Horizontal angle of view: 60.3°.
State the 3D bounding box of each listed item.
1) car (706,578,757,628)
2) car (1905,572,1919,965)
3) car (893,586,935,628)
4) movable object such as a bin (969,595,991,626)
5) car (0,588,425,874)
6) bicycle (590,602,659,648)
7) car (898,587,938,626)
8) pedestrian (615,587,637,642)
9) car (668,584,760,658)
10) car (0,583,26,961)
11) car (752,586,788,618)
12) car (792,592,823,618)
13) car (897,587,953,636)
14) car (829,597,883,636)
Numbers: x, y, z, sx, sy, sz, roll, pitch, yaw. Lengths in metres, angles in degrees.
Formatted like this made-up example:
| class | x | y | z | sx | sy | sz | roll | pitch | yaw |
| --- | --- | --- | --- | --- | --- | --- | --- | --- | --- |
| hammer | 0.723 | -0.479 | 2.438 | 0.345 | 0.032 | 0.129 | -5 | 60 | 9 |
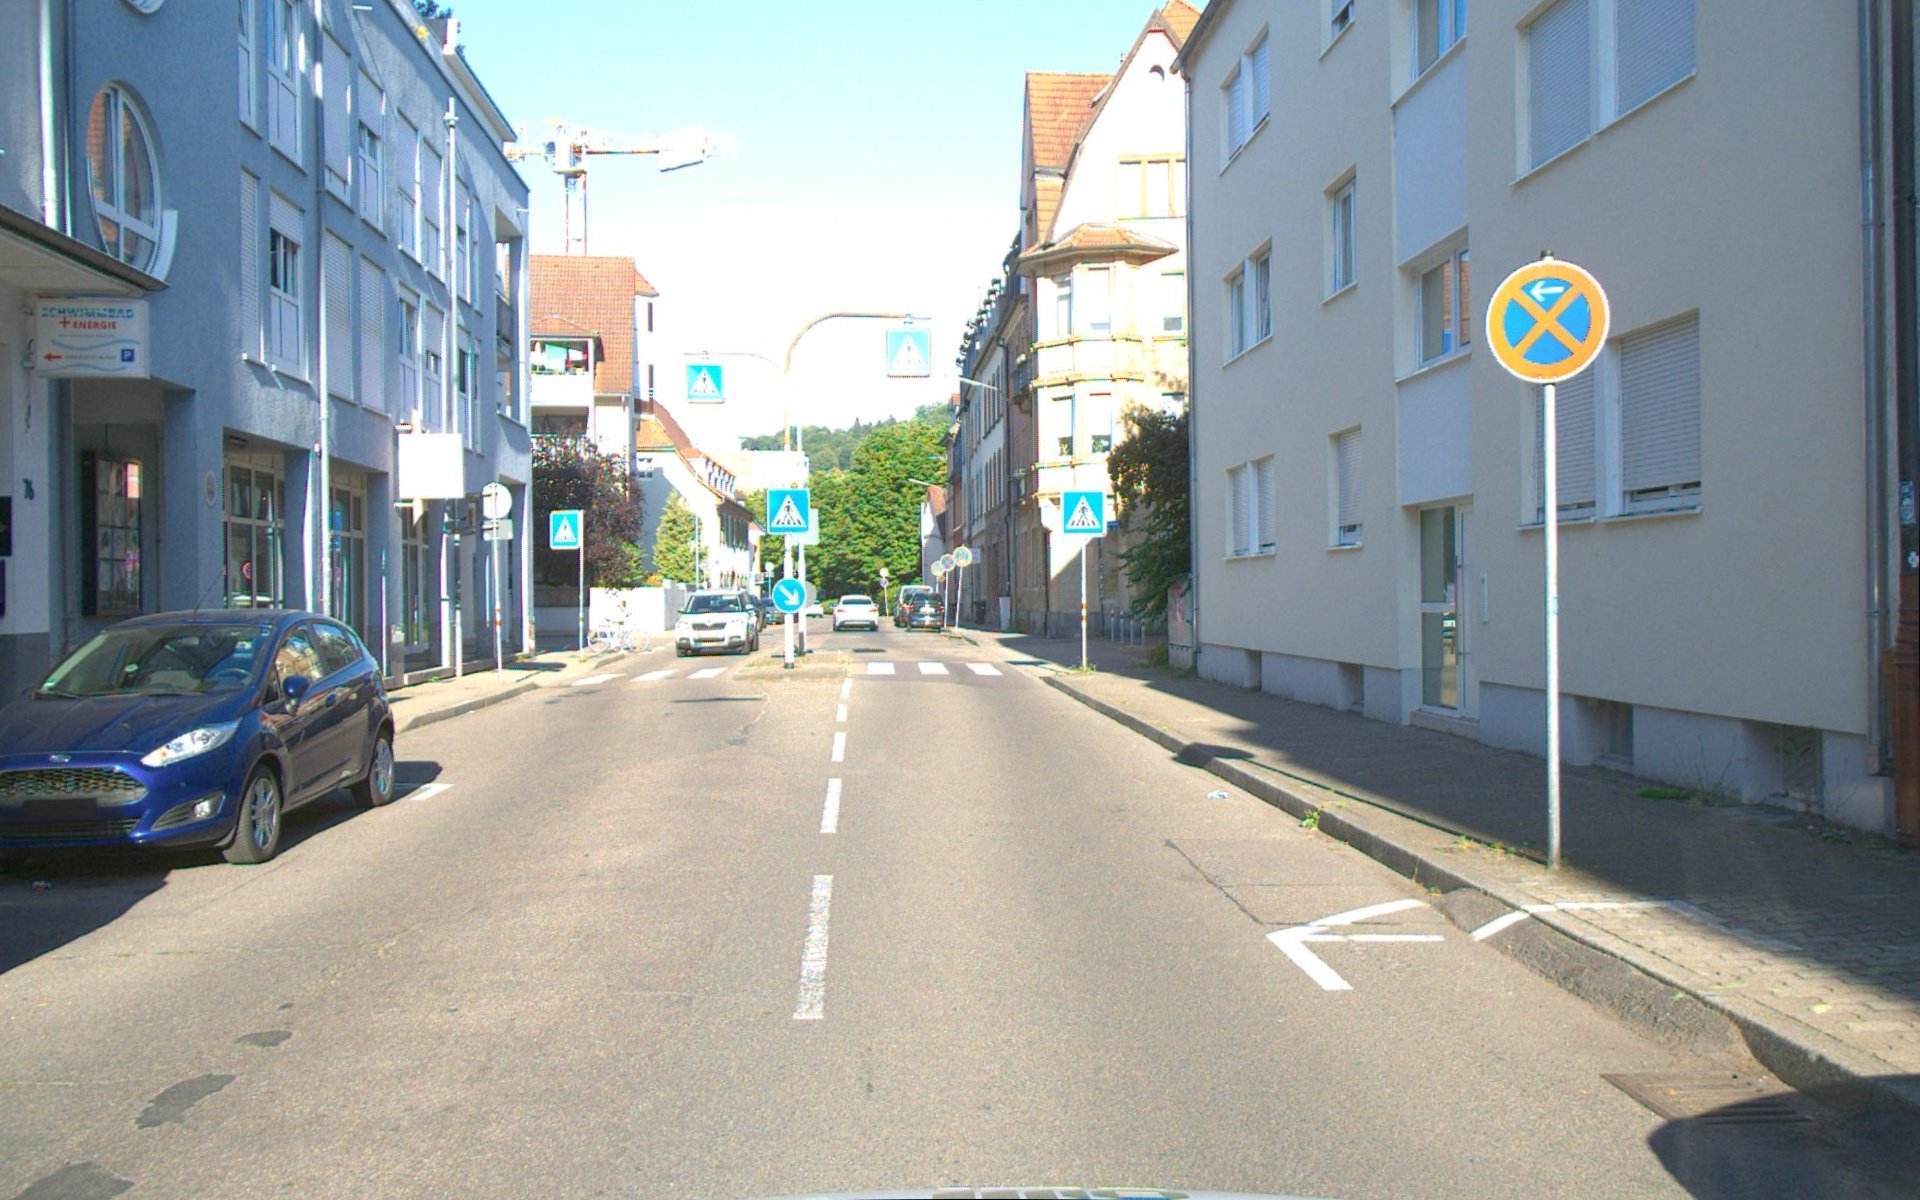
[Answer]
| class | x | y | z | sx | sy | sz | roll | pitch | yaw |
| --- | --- | --- | --- | --- | --- | --- | --- | --- | --- |
| car | -9.624 | 0.097 | 69.887 | 1.955 | 2.049 | 3.995 | 0 | 0 | -6 |
| car | 2.953 | 0.674 | 1.262 | 1.707 | 1.518 | 4.436 | -2 | 0 | -3 |
| car | -2.309 | 0.328 | 82.083 | 1.805 | 1.939 | 3.996 | -2 | 1 | -5 |
| movable object such as a bin | 0.931 | 0.470 | 76.721 | 0.855 | 1.401 | 0.684 | -2 | 1 | -8 |
| car | -4.987 | 0.705 | 10.997 | 1.696 | 1.525 | 3.957 | -1 | 0 | -3 |
| bicycle | -9.149 | 0.664 | 45.129 | 1.751 | 1.205 | 0.598 | -1 | 0 | -4 |
| car | -1.963 | 0.281 | 77.176 | 1.781 | 1.659 | 3.999 | -2 | 1 | -1 |
| pedestrian | -9.173 | 0.392 | 45.437 | 0.546 | 1.498 | 0.600 | -1 | 0 | -8 |
| car | -6.147 | 0.490 | 41.728 | 1.771 | 1.731 | 4.190 | -1 | 1 | -2 |
| car | -4.627 | 0.723 | 5.039 | 1.627 | 1.553 | 3.805 | 0 | 0 | -4 |
| car | -11.103 | 0.097 | 96.786 | 1.873 | 1.790 | 4.124 | -2 | 1 | -5 |
| car | -12.625 | 0.404 | 136.587 | 1.960 | 2.049 | 3.984 | -1 | 0 | -15 |
| car | -1.420 | 0.426 | 65.832 | 1.972 | 1.885 | 3.996 | 0 | 1 | -5 |
| car | -4.240 | 0.654 | 66.975 | 1.955 | 1.492 | 3.995 | -1 | 0 | -6 |
